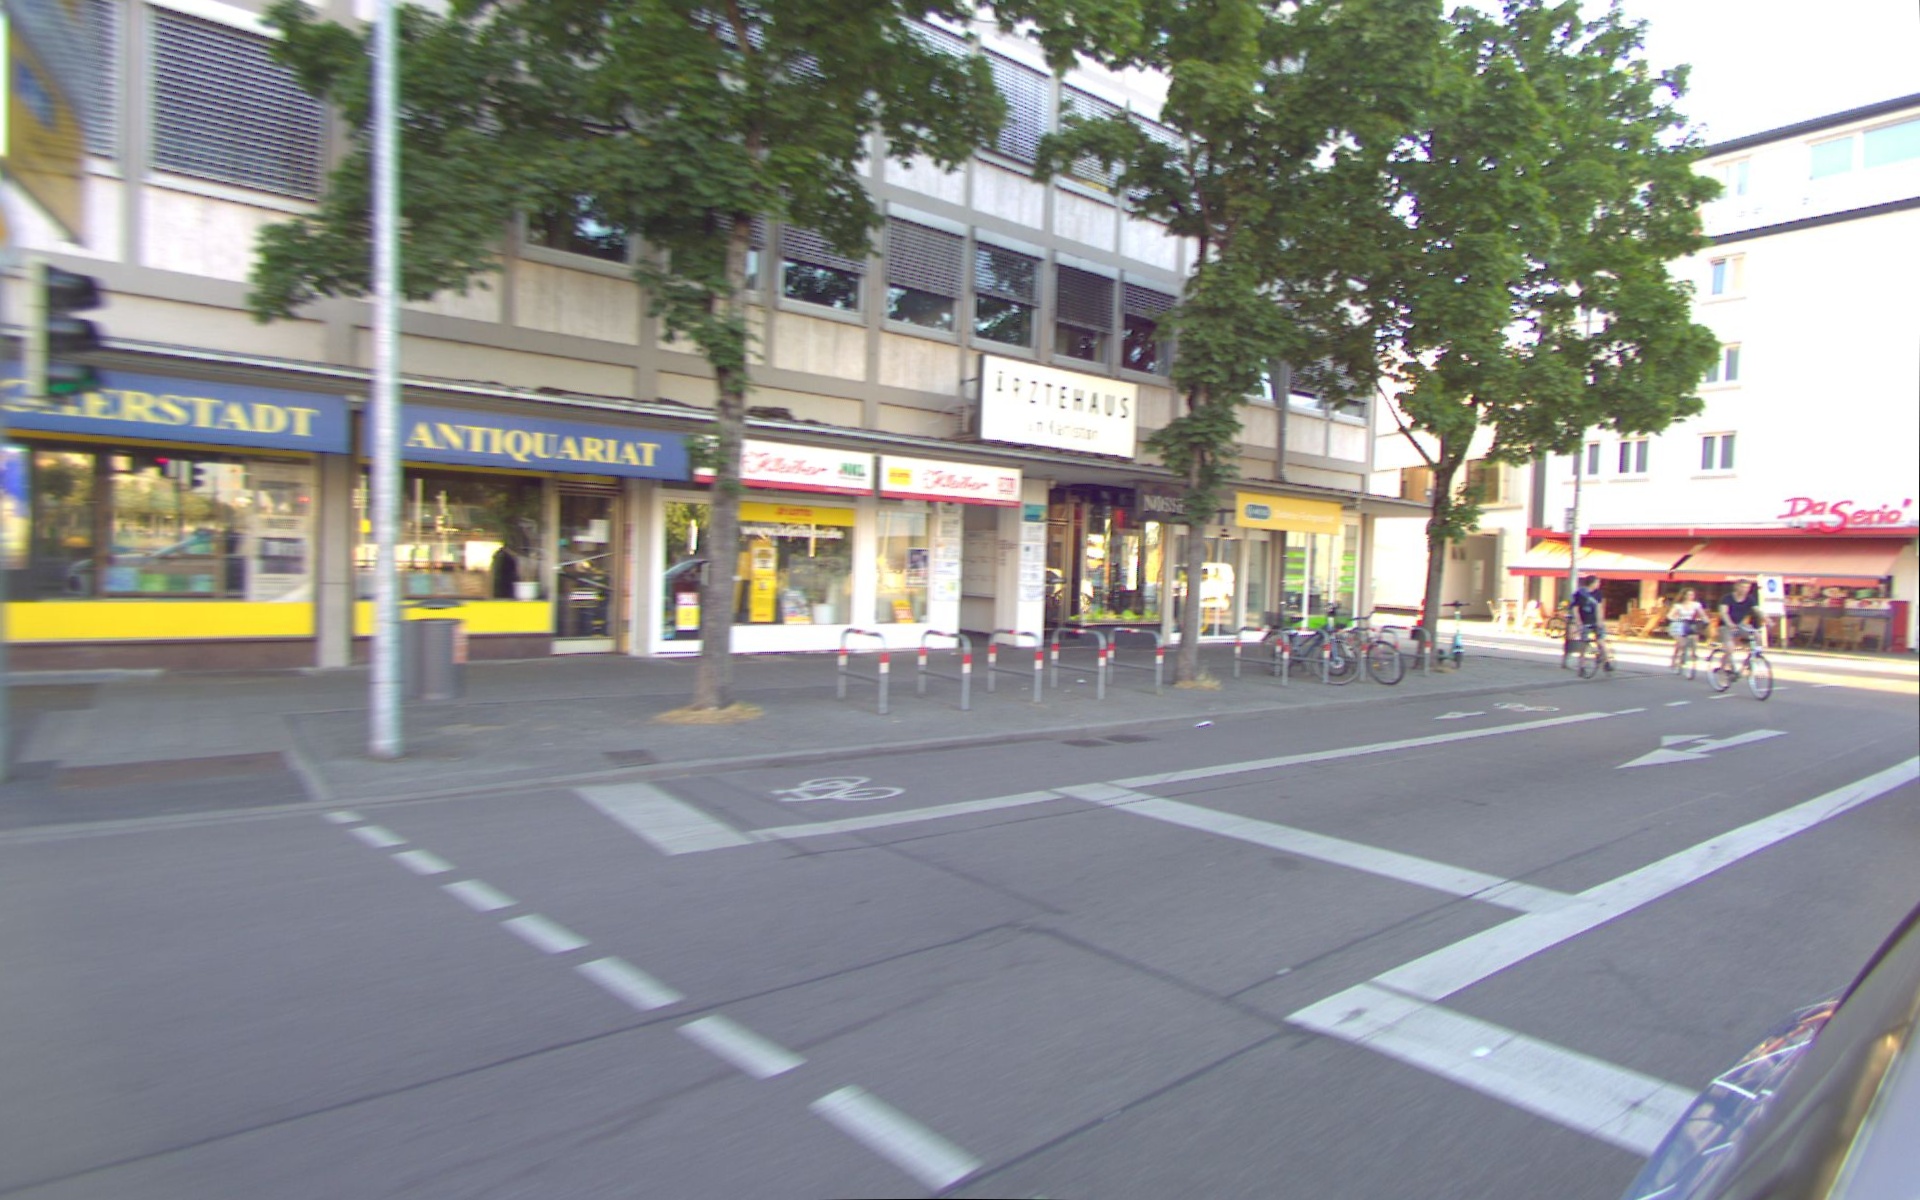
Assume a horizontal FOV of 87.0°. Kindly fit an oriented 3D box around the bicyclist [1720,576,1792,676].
[{"bbox_3d":[12.535,0.387,15.961,0.606,1.505,0.714,2,2,17],"label":"bicyclist"}]

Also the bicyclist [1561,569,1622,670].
[{"bbox_3d":[11.457,0.335,18.357,0.796,1.748,0.665,0,2,-41],"label":"bicyclist"}]

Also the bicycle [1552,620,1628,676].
[{"bbox_3d":[11.459,0.850,18.386,1.660,0.912,0.675,0,3,-41],"label":"bicycle"}]

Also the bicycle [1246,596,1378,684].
[{"bbox_3d":[5.338,0.568,15.435,0.656,1.154,1.742,0,4,-44],"label":"bicycle"}]

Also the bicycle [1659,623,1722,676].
[{"bbox_3d":[13.528,0.889,18.774,0.594,0.835,1.725,3,2,25],"label":"bicycle"}]

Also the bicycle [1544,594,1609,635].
[{"bbox_3d":[19.474,0.446,32.003,0.589,1.180,1.636,-2,4,-32],"label":"bicycle"}]

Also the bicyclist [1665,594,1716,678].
[{"bbox_3d":[13.554,0.651,18.804,0.582,1.505,0.712,3,2,25],"label":"bicyclist"}]

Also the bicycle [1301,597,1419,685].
[{"bbox_3d":[6.229,0.606,15.840,0.528,1.199,1.637,0,3,-37],"label":"bicycle"}]

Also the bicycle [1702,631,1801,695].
[{"bbox_3d":[12.543,0.973,16.100,0.607,0.835,1.796,2,2,17],"label":"bicycle"}]

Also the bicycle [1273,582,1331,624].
[{"bbox_3d":[10.675,0.092,31.569,1.682,1.201,0.541,4,1,-21],"label":"bicycle"}]

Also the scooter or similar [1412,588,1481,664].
[{"bbox_3d":[9.170,0.476,19.118,0.504,1.338,1.283,2,2,-7],"label":"scooter or similar"}]

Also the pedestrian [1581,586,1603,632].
[{"bbox_3d":[20.502,0.291,32.824,0.504,1.467,0.503,3,2,26],"label":"pedestrian"}]
